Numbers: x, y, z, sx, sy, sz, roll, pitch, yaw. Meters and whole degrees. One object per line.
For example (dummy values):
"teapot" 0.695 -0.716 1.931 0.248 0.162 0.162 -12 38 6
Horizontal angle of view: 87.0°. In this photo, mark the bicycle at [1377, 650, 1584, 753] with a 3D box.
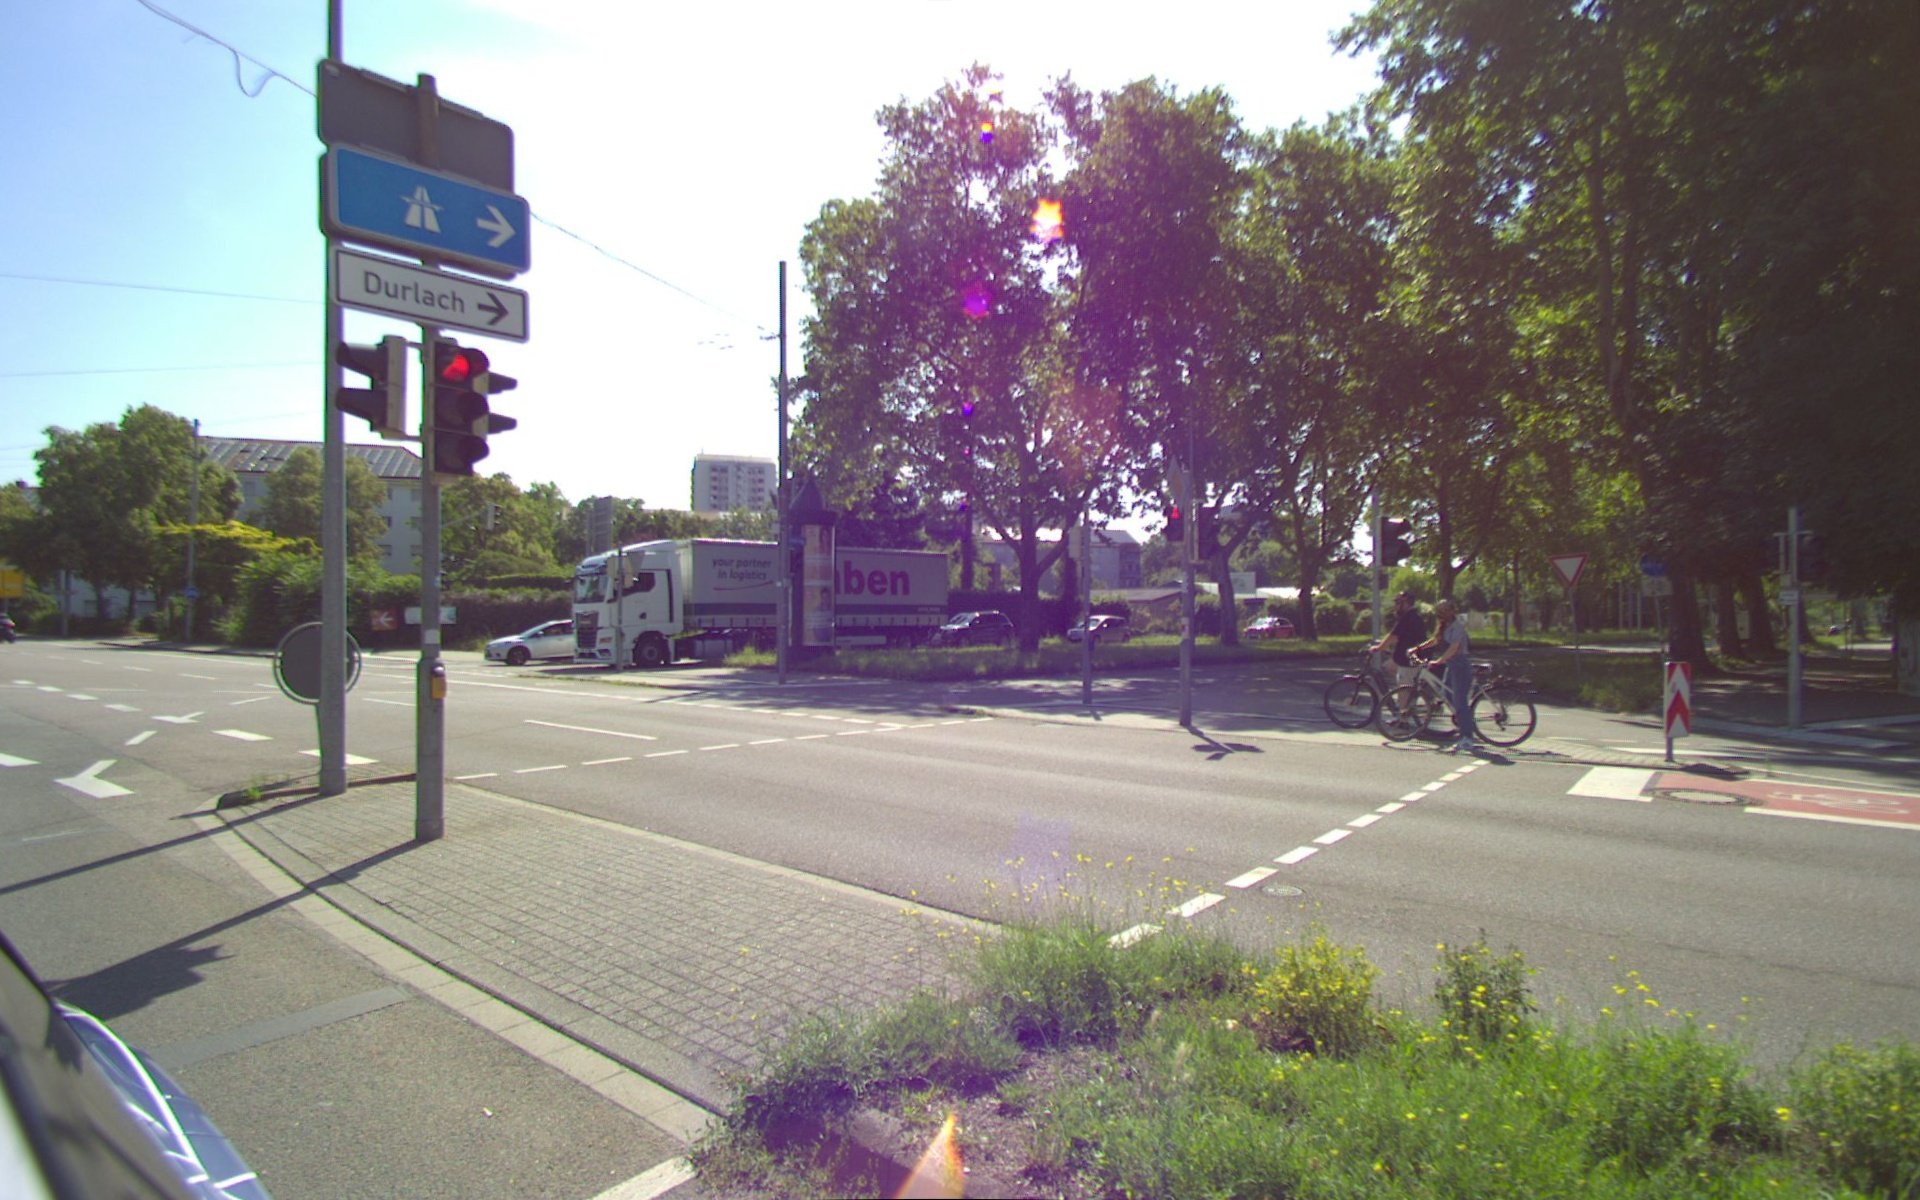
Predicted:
"bicycle" 6.009 1.132 11.749 2.068 1.066 0.745 -1 -1 31

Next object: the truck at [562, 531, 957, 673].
"truck" -6.093 0.207 34.691 2.856 4.038 14.093 -1 -2 45

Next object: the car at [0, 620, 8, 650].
"car" -52.165 1.841 53.609 4.497 1.594 1.734 -1 -3 37

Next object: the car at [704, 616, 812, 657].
"car" -7.581 1.349 38.152 3.682 1.444 1.636 0 -2 -42

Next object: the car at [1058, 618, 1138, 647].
"car" 7.226 1.668 52.646 4.304 1.379 1.758 0 -2 -42

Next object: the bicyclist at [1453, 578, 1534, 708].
"bicyclist" 6.137 0.488 11.637 0.736 1.431 0.702 -3 -2 31

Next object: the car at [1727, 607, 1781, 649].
"car" 46.116 1.607 58.736 2.001 2.334 4.591 -1 -2 44

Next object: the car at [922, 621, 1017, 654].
"car" 0.469 1.697 45.997 4.304 1.379 1.758 0 -2 -42

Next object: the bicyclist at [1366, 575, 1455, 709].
"bicyclist" 5.927 0.544 13.319 0.826 1.687 0.827 -3 -2 39

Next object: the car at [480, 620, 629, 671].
"car" -13.352 1.481 33.400 4.324 1.522 1.761 0 -2 -33

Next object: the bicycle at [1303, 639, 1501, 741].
"bicycle" 5.767 1.129 13.302 2.210 1.184 0.927 -1 -2 41

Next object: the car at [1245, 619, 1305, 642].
"car" 20.324 1.951 65.243 4.304 1.379 1.758 0 -2 -42
